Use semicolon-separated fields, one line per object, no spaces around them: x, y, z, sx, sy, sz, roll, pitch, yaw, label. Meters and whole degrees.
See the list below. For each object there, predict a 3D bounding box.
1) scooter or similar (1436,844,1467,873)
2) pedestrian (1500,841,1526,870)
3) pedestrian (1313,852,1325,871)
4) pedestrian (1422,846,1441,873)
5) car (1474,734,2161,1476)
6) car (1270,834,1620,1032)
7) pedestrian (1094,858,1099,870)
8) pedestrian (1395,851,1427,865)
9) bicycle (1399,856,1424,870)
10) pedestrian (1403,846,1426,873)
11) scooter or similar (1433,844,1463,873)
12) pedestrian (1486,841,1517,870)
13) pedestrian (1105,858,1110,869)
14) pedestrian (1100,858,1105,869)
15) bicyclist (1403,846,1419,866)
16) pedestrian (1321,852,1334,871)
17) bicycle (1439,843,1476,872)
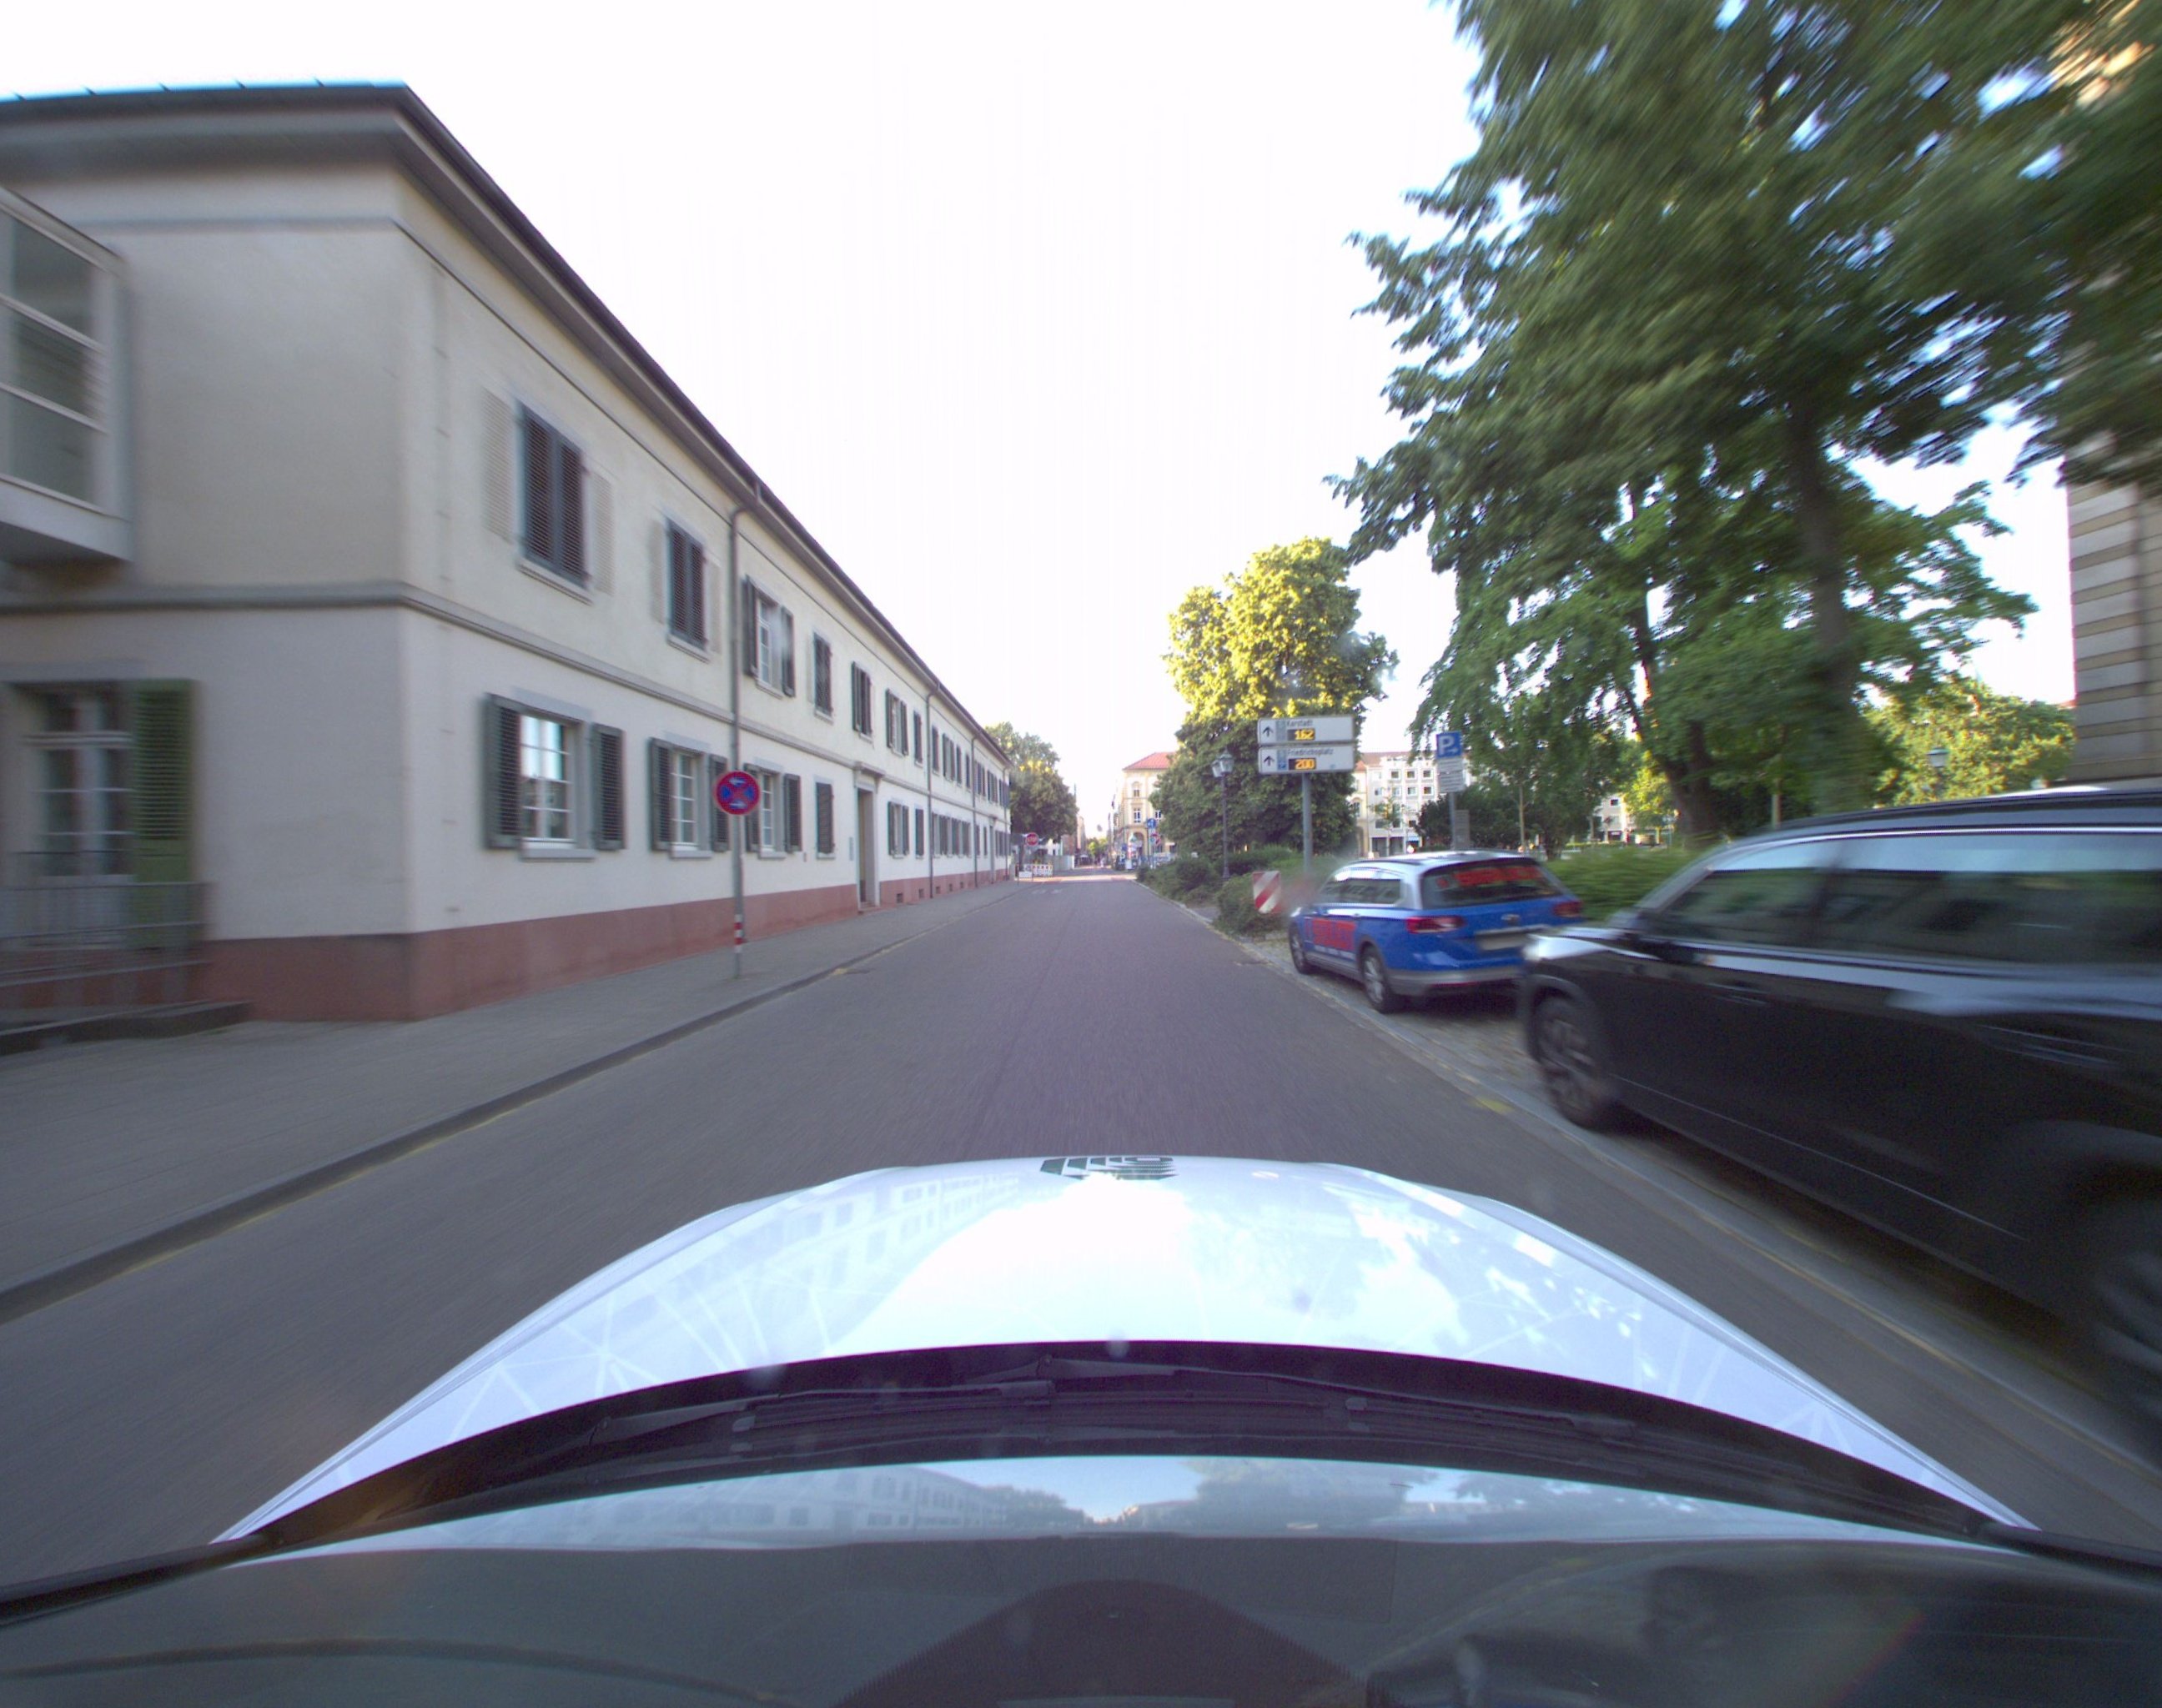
16.270;0.192;35.771;1.217;1.245;0.416;-2;-1;-12;scooter or similar
20.863;0.087;39.350;0.760;1.347;0.784;-2;-1;-15;pedestrian
17.576;0.569;60.137;0.595;1.342;0.817;-2;-1;-5;pedestrian
15.668;0.252;36.356;0.656;1.191;0.800;-3;-1;29;pedestrian
3.327;0.547;2.990;1.716;1.651;4.718;-2;-1;4;car
3.579;0.677;9.106;1.719;1.488;4.609;-5;-1;0;car
2.356;1.466;121.062;0.655;1.760;0.745;-2;-1;1;pedestrian
14.973;0.189;36.962;0.541;0.549;1.369;-5;0;-18;pedestrian
27.621;0.746;68.030;1.926;1.121;0.594;-2;-1;-9;bicycle
15.456;0.265;37.742;0.719;1.191;0.748;-2;-1;4;pedestrian
16.401;0.188;36.376;1.219;1.245;0.416;-2;-1;-16;scooter or similar
20.084;0.078;38.863;0.918;1.347;0.880;-2;-1;-15;pedestrian
3.893;1.343;119.293;0.655;1.617;0.745;-2;-1;1;pedestrian
3.156;1.392;119.287;0.655;1.617;0.745;-2;-1;1;pedestrian
27.587;0.128;68.051;1.060;1.633;0.594;-2;-1;-8;bicyclist
18.232;0.565;60.173;0.595;1.342;0.817;-2;-1;-5;pedestrian
17.380;0.165;37.656;0.618;1.300;2.016;-2;-1;-3;bicycle
